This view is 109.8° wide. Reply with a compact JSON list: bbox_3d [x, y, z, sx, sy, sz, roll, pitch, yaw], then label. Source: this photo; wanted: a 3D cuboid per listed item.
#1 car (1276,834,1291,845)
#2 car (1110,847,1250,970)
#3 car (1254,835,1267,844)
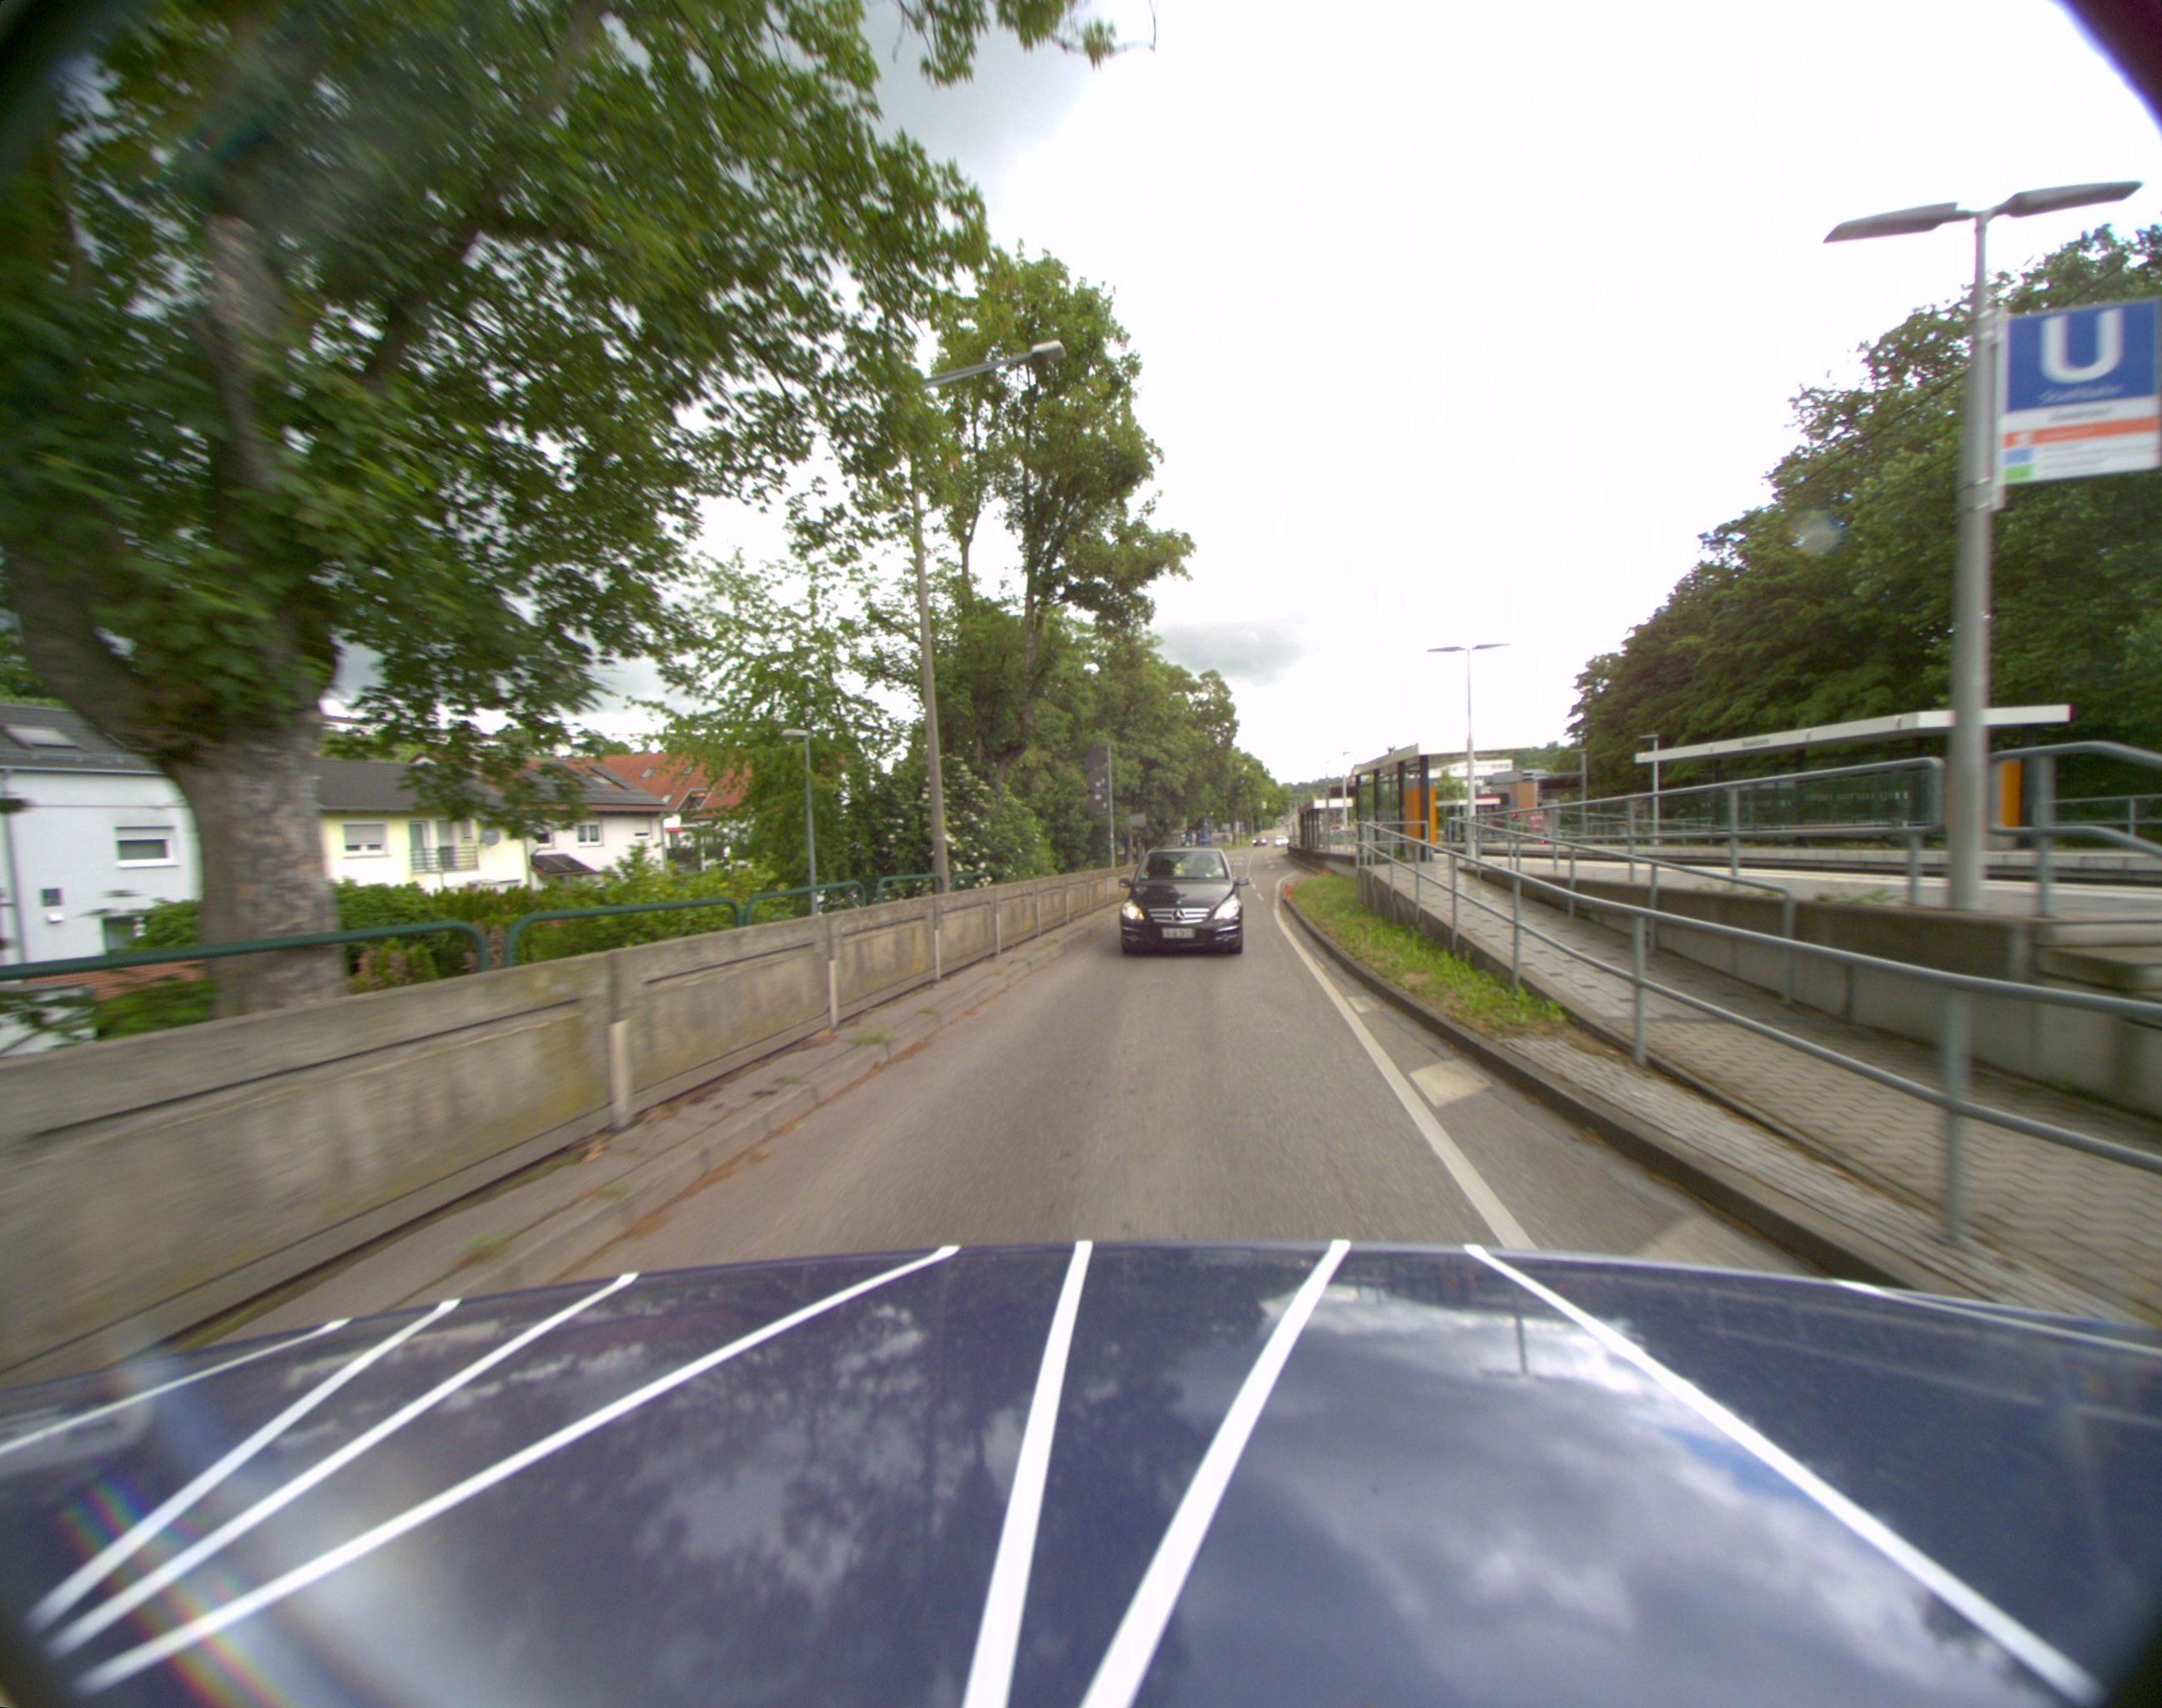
[{"bbox_3d":[27.965,-2.061,105.101,1.701,1.470,3.710,-1,1,10],"label":"car"},{"bbox_3d":[1.803,0.712,12.426,1.709,1.574,4.446,0,1,15],"label":"car"},{"bbox_3d":[27.769,-2.216,117.753,1.714,1.277,3.576,-1,1,10],"label":"car"}]
